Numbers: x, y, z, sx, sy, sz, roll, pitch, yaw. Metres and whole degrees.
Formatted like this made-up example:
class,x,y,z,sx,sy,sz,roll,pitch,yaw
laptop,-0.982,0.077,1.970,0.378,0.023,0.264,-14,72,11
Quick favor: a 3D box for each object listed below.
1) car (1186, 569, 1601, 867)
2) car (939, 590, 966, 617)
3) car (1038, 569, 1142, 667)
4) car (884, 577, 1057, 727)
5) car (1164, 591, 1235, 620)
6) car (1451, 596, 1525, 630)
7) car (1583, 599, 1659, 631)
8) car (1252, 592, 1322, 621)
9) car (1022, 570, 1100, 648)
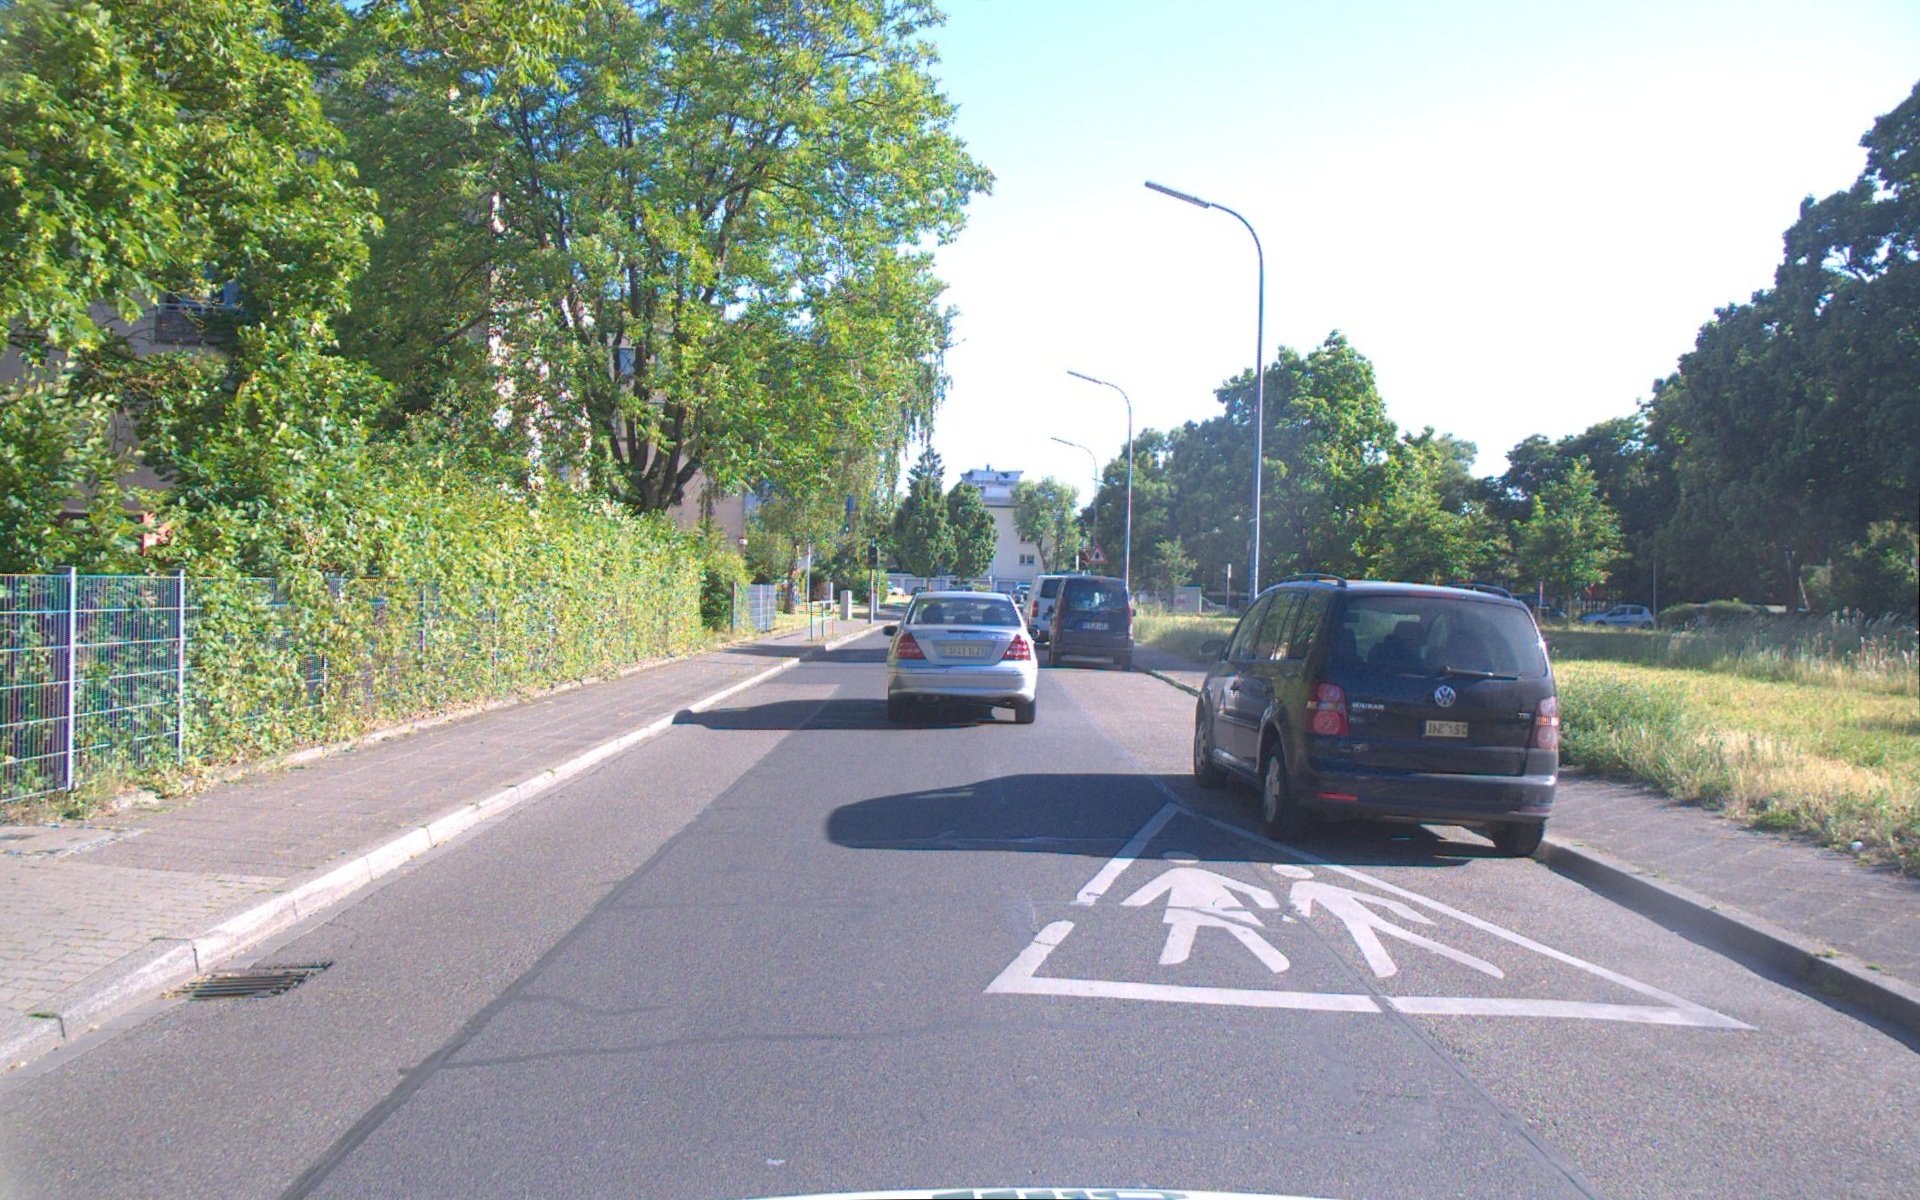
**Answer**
class,x,y,z,sx,sy,sz,roll,pitch,yaw
car,2.792,0.661,11.593,1.664,1.638,3.999,3,1,-2
car,-0.571,0.243,118.748,1.846,1.758,3.999,1,-2,-1
car,2.589,0.319,33.737,1.664,1.790,3.850,3,1,-1
car,0.075,0.517,19.537,1.779,1.488,4.360,2,1,-1
car,13.105,0.285,90.492,3.624,1.467,1.701,1,-2,15
car,27.914,0.683,87.467,3.624,1.646,1.701,1,-2,15
car,36.943,0.828,92.523,3.624,1.646,1.701,1,-2,9
car,17.714,0.356,89.502,3.624,1.497,1.701,1,-2,15
car,2.628,0.199,43.661,1.664,1.883,3.850,3,1,-1
